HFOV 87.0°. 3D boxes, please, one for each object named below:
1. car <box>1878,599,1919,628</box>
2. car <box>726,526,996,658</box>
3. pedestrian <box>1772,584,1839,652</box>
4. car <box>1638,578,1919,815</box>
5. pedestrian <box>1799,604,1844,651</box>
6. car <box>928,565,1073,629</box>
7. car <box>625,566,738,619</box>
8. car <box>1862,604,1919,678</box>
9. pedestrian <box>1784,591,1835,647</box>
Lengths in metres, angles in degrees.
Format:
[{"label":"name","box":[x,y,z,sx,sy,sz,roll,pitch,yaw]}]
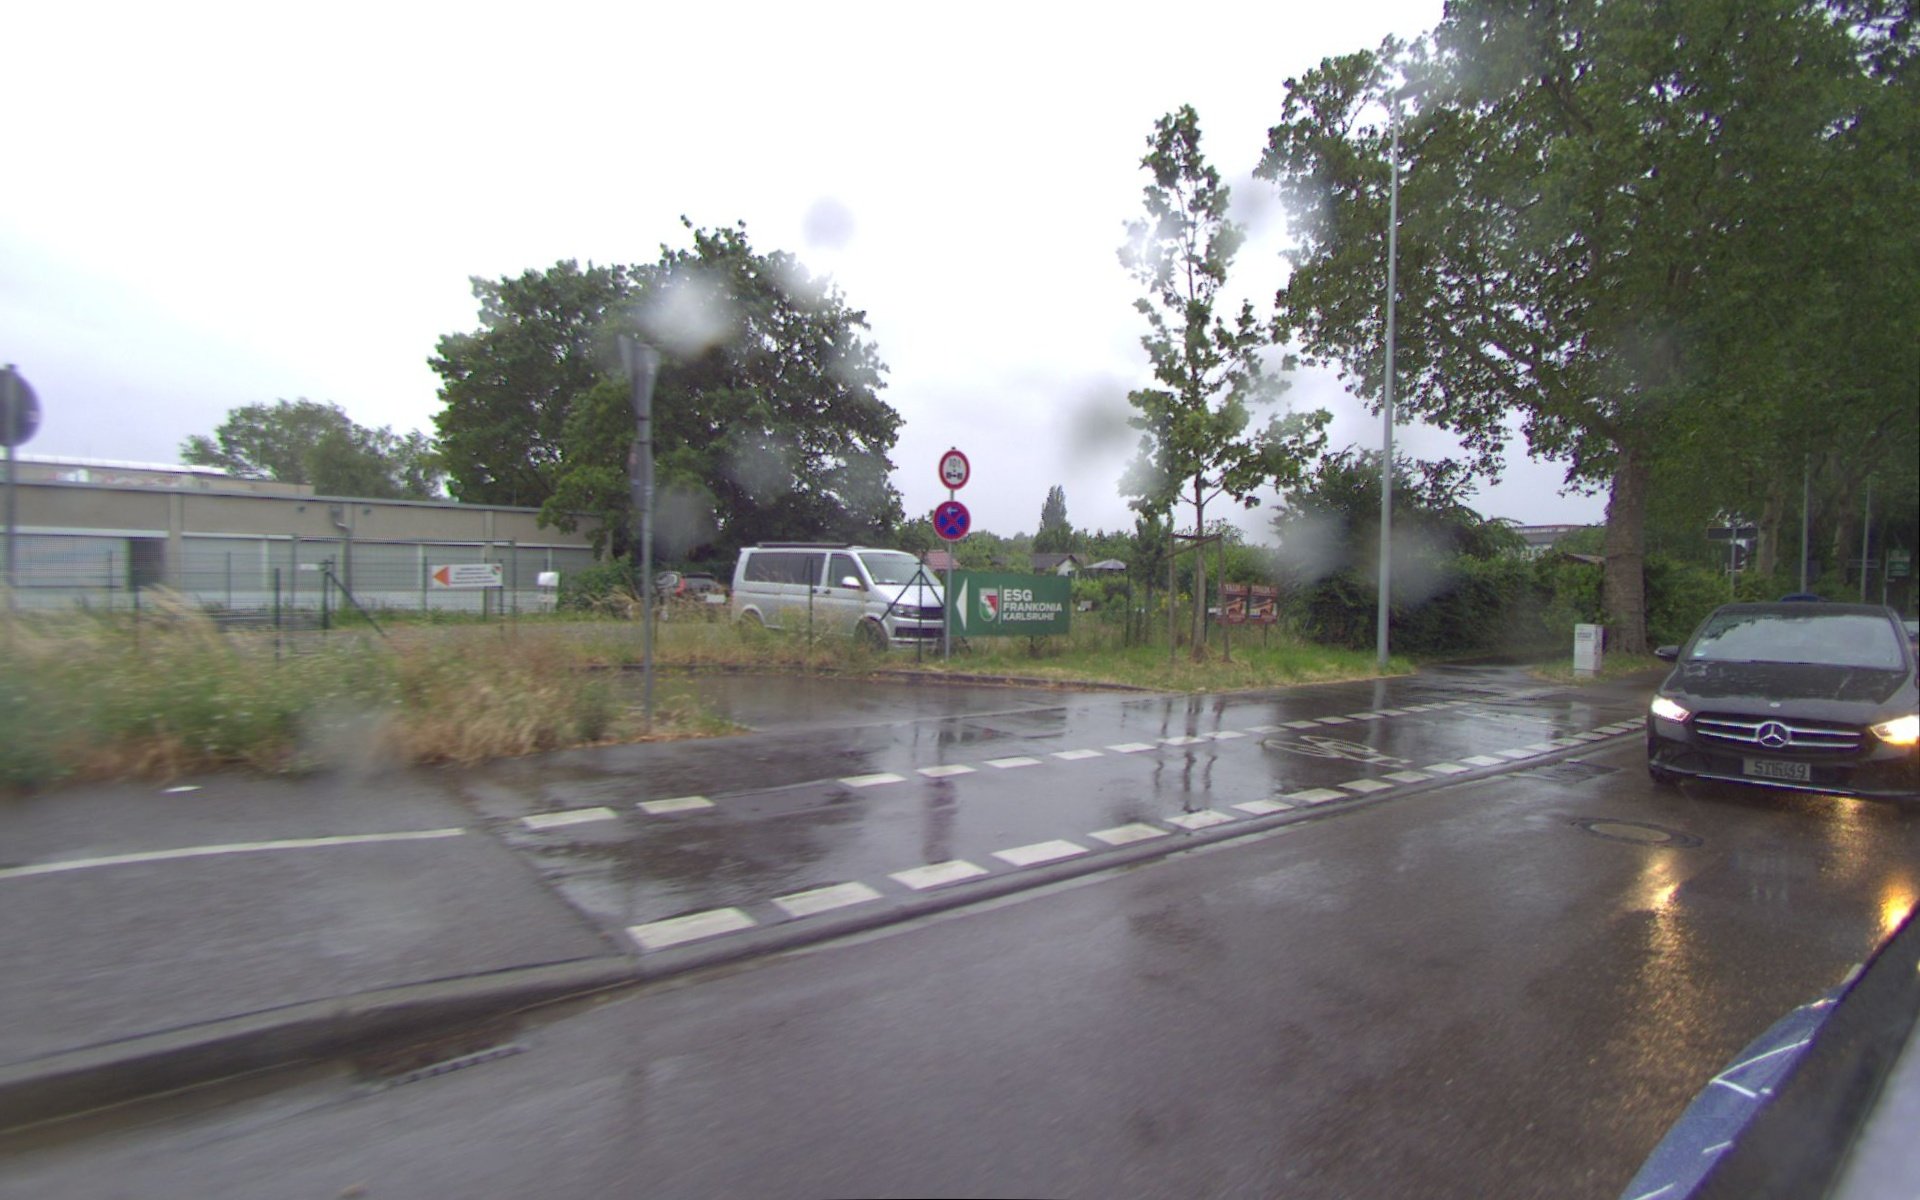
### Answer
[{"label":"car","box":[54.139,0.792,56.981,1.628,1.516,3.389,2,0,-38]},{"label":"car","box":[-1.934,-0.159,18.187,5.251,2.039,1.968,1,0,45]},{"label":"pedestrian","box":[24.108,0.486,28.851,1.127,1.807,1.242,0,3,-42]},{"label":"car","box":[7.328,0.618,8.643,1.817,1.549,4.351,0,1,44]},{"label":"pedestrian","box":[27.487,0.873,32.296,0.999,1.407,0.894,0,4,-42]},{"label":"car","box":[1.231,-0.049,30.094,3.927,1.639,1.998,4,-2,-39]},{"label":"car","box":[-9.174,-0.249,33.130,1.966,1.638,3.991,0,1,-43]},{"label":"car","box":[20.359,0.820,21.324,3.718,1.402,1.639,-1,1,-42]},{"label":"pedestrian","box":[25.648,0.561,30.558,1.271,1.608,0.948,0,3,-42]}]
